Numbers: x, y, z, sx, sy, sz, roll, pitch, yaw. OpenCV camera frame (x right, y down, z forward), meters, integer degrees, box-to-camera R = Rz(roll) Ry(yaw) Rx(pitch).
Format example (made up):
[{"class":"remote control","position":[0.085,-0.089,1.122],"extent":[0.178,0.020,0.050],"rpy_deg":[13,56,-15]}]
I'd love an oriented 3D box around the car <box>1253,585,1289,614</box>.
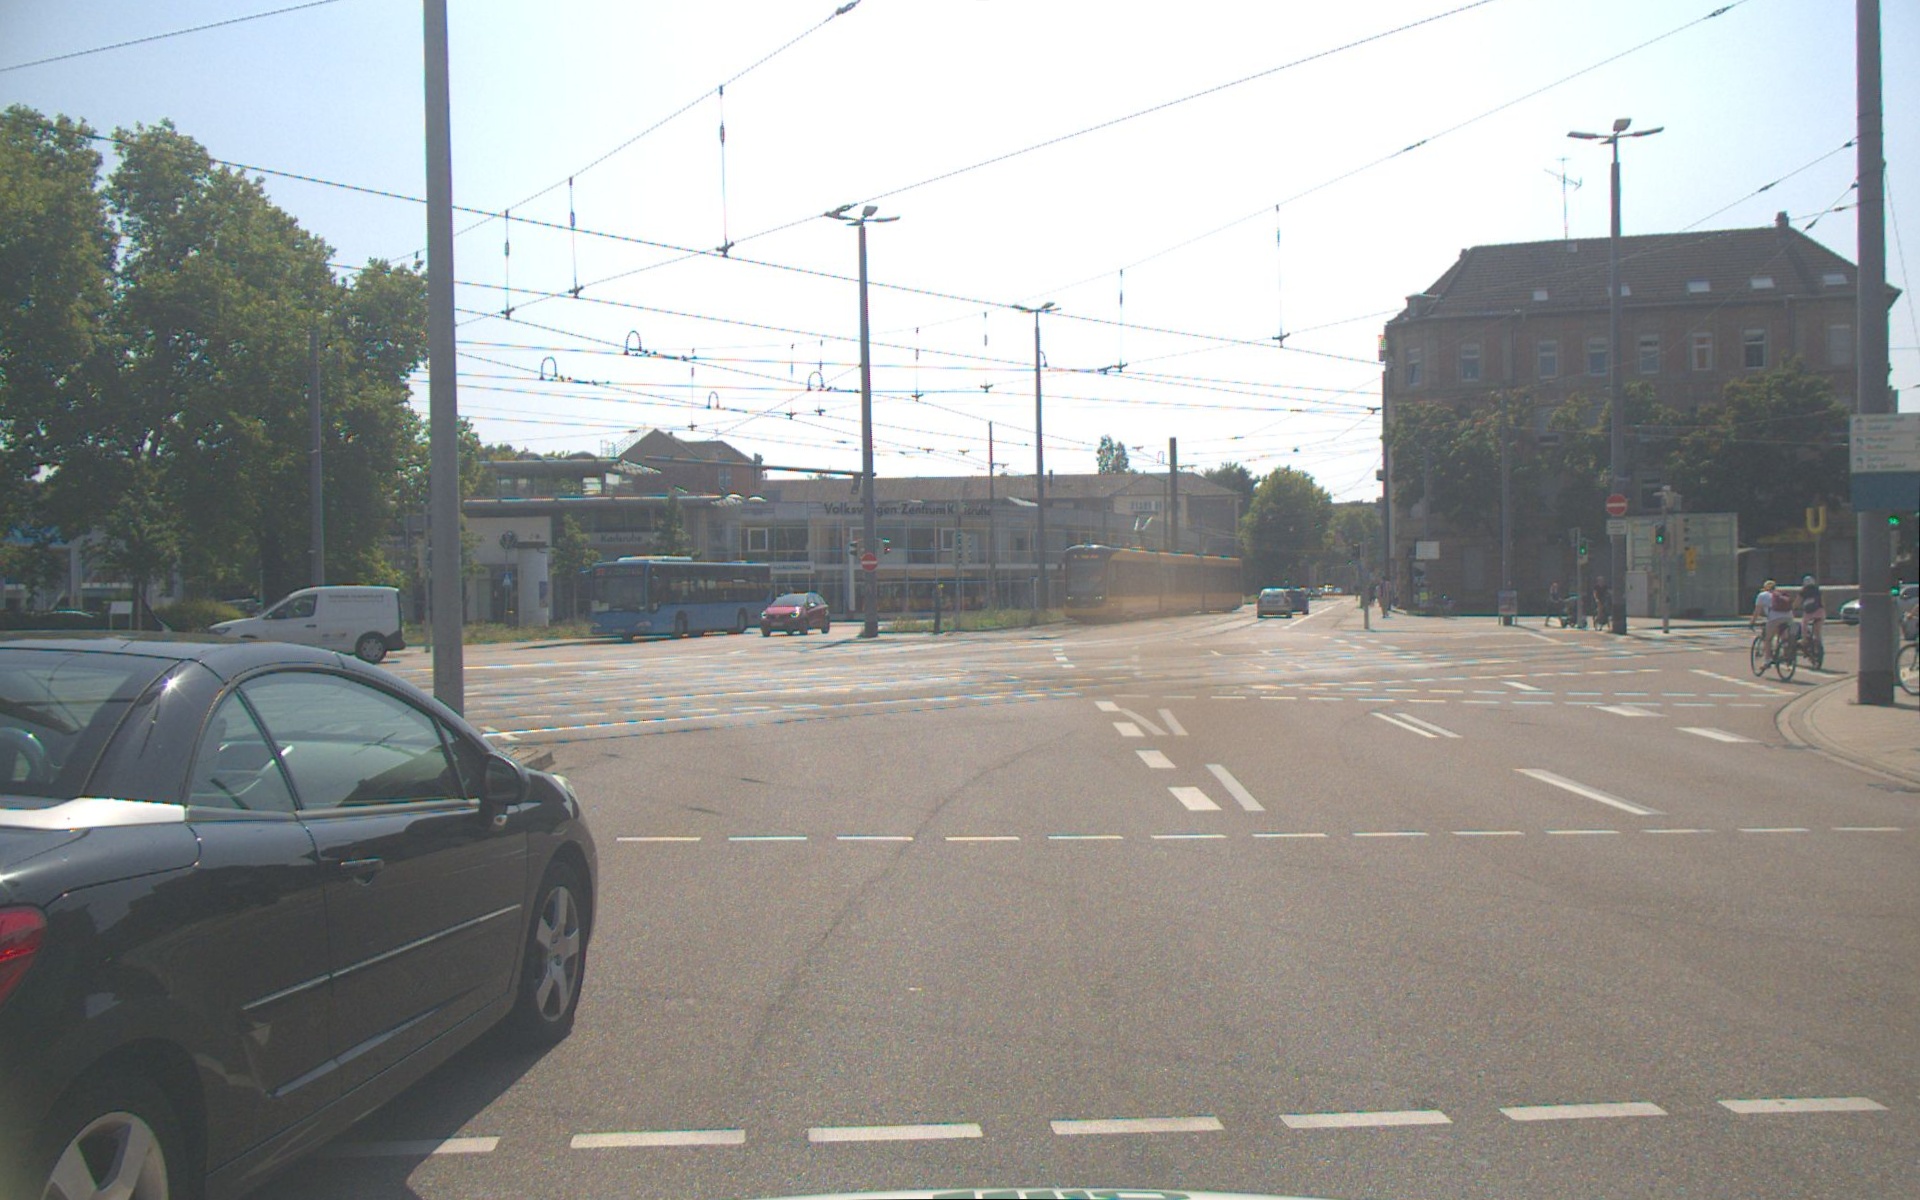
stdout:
[{"class":"car","position":[16.035,-0.047,85.134],"extent":[1.732,1.440,4.193],"rpy_deg":[-1,0,12]}]

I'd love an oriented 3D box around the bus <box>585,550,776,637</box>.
[{"class":"bus","position":[-10.830,-0.286,65.956],"extent":[2.508,3.136,12.031],"rpy_deg":[-1,0,16]}]

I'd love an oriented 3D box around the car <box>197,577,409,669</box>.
[{"class":"car","position":[-15.488,0.511,39.190],"extent":[4.545,2.049,1.987],"rpy_deg":[-1,0,-21]}]

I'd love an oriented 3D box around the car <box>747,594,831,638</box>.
[{"class":"car","position":[-6.450,0.576,62.823],"extent":[1.713,1.579,4.002],"rpy_deg":[-1,0,17]}]

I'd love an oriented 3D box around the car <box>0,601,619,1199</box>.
[{"class":"car","position":[-2.239,0.731,4.253],"extent":[1.728,1.412,3.783],"rpy_deg":[1,0,3]}]

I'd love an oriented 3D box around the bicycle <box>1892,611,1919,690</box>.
[{"class":"bicycle","position":[13.367,0.695,22.468],"extent":[0.481,1.073,1.824],"rpy_deg":[-1,0,4]}]

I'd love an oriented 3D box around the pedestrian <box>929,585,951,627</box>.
[{"class":"pedestrian","position":[-0.712,0.200,58.188],"extent":[0.666,1.468,0.364],"rpy_deg":[-1,0,-18]}]

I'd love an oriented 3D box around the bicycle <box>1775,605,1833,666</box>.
[{"class":"bicycle","position":[15.668,0.644,30.724],"extent":[0.525,1.073,1.655],"rpy_deg":[-1,0,12]}]

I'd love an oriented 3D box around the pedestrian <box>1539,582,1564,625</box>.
[{"class":"pedestrian","position":[21.937,0.114,61.346],"extent":[0.832,1.572,0.529],"rpy_deg":[-1,0,16]}]

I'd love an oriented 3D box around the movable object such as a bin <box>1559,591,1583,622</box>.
[{"class":"movable object such as a bin","position":[22.436,0.242,60.707],"extent":[0.795,1.096,0.512],"rpy_deg":[-1,0,19]}]

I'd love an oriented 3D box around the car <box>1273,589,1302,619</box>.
[{"class":"car","position":[18.873,0.229,95.300],"extent":[1.601,1.646,4.004],"rpy_deg":[-1,0,11]}]

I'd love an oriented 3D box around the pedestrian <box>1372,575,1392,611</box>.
[{"class":"pedestrian","position":[19.109,-0.325,74.914],"extent":[0.686,1.631,0.572],"rpy_deg":[-1,0,-8]}]

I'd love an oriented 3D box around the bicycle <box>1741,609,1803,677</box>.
[{"class":"bicycle","position":[13.612,0.703,27.745],"extent":[0.525,1.073,1.655],"rpy_deg":[-1,0,12]}]

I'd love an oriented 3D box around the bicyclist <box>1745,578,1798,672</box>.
[{"class":"bicyclist","position":[13.628,0.417,27.795],"extent":[0.614,1.544,0.712],"rpy_deg":[-1,0,12]}]

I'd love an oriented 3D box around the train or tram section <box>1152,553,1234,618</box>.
[{"class":"train or tram section","position":[13.928,-0.842,97.833],"extent":[2.534,3.578,12.978],"rpy_deg":[-1,0,18]}]

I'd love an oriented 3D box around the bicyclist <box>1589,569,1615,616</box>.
[{"class":"bicyclist","position":[21.652,-0.263,55.785],"extent":[0.601,1.555,0.519],"rpy_deg":[-1,0,-15]}]

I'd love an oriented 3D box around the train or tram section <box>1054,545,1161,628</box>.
[{"class":"train or tram section","position":[7.055,-0.614,77.445],"extent":[2.534,3.578,10.904],"rpy_deg":[-1,0,18]}]

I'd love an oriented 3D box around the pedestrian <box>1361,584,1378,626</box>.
[{"class":"pedestrian","position":[30.111,0.352,121.620],"extent":[0.963,3.070,0.975],"rpy_deg":[-1,0,4]}]

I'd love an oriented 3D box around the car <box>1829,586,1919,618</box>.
[{"class":"car","position":[34.313,0.059,60.997],"extent":[3.933,1.109,1.986],"rpy_deg":[-1,0,-23]}]

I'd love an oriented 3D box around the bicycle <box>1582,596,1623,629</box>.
[{"class":"bicycle","position":[21.654,0.414,55.772],"extent":[0.461,1.073,1.649],"rpy_deg":[-1,0,-11]}]

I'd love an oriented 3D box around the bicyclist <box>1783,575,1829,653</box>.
[{"class":"bicyclist","position":[15.613,0.248,30.551],"extent":[0.519,1.417,0.894],"rpy_deg":[-1,0,12]}]

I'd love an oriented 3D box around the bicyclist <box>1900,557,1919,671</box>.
[{"class":"bicyclist","position":[13.346,0.184,22.524],"extent":[0.718,1.544,0.664],"rpy_deg":[-1,0,4]}]

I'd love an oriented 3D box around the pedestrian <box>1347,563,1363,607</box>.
[{"class":"pedestrian","position":[27.858,-1.066,116.596],"extent":[0.963,3.070,0.975],"rpy_deg":[-1,0,5]}]

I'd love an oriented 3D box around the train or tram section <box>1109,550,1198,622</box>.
[{"class":"train or tram section","position":[10.302,-0.731,87.119],"extent":[2.534,3.578,9.662],"rpy_deg":[-1,0,19]}]
